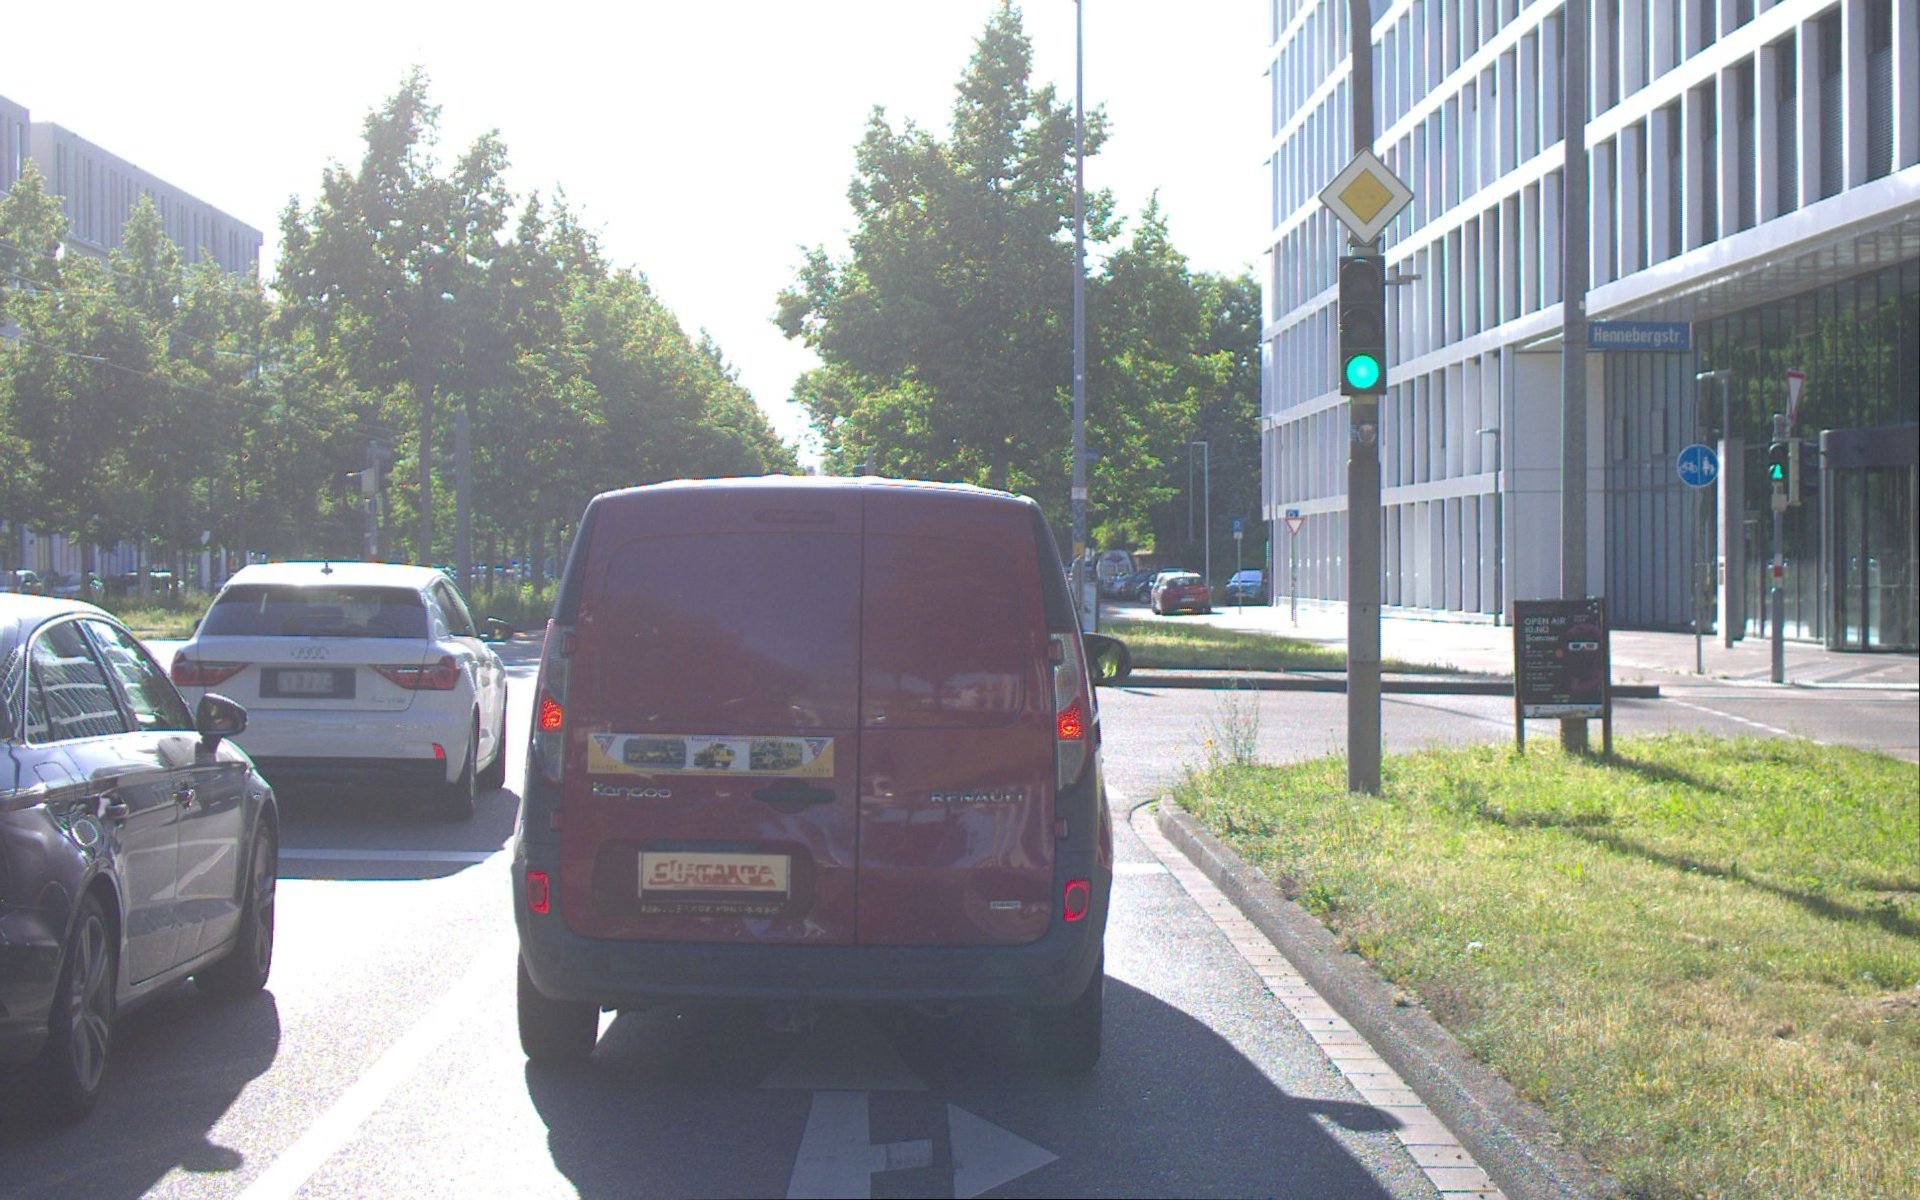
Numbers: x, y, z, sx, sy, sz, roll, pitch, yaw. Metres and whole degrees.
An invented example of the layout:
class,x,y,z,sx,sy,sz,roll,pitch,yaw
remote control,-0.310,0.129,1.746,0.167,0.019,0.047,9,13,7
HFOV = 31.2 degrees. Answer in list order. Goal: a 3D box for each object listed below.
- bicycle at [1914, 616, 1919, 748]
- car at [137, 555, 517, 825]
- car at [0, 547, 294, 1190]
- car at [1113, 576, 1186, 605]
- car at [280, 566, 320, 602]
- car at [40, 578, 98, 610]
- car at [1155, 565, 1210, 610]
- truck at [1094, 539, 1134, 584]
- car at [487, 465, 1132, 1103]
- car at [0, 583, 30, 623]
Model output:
class,x,y,z,sx,sy,sz,roll,pitch,yaw
bicycle,8.901,0.741,29.709,0.741,1.170,1.961,0,1,-1
car,-3.627,0.452,20.338,1.808,1.430,4.113,0,1,-5
car,-3.213,0.608,10.165,1.808,1.522,4.113,0,1,-2
car,8.954,-0.444,162.451,3.399,1.354,1.470,0,0,6
car,-37.570,-0.902,195.656,1.728,2.007,4.001,0,1,-3
car,-37.732,-0.250,145.665,1.580,1.338,3.712,0,0,-1
car,8.041,-0.468,124.380,1.758,1.606,3.903,0,1,1
truck,8.733,-2.171,195.241,1.831,2.492,5.933,0,0,-1
car,-0.426,0.489,11.706,1.808,1.788,4.113,0,1,0
car,-37.332,0.116,133.023,1.776,1.523,3.806,0,0,-1
